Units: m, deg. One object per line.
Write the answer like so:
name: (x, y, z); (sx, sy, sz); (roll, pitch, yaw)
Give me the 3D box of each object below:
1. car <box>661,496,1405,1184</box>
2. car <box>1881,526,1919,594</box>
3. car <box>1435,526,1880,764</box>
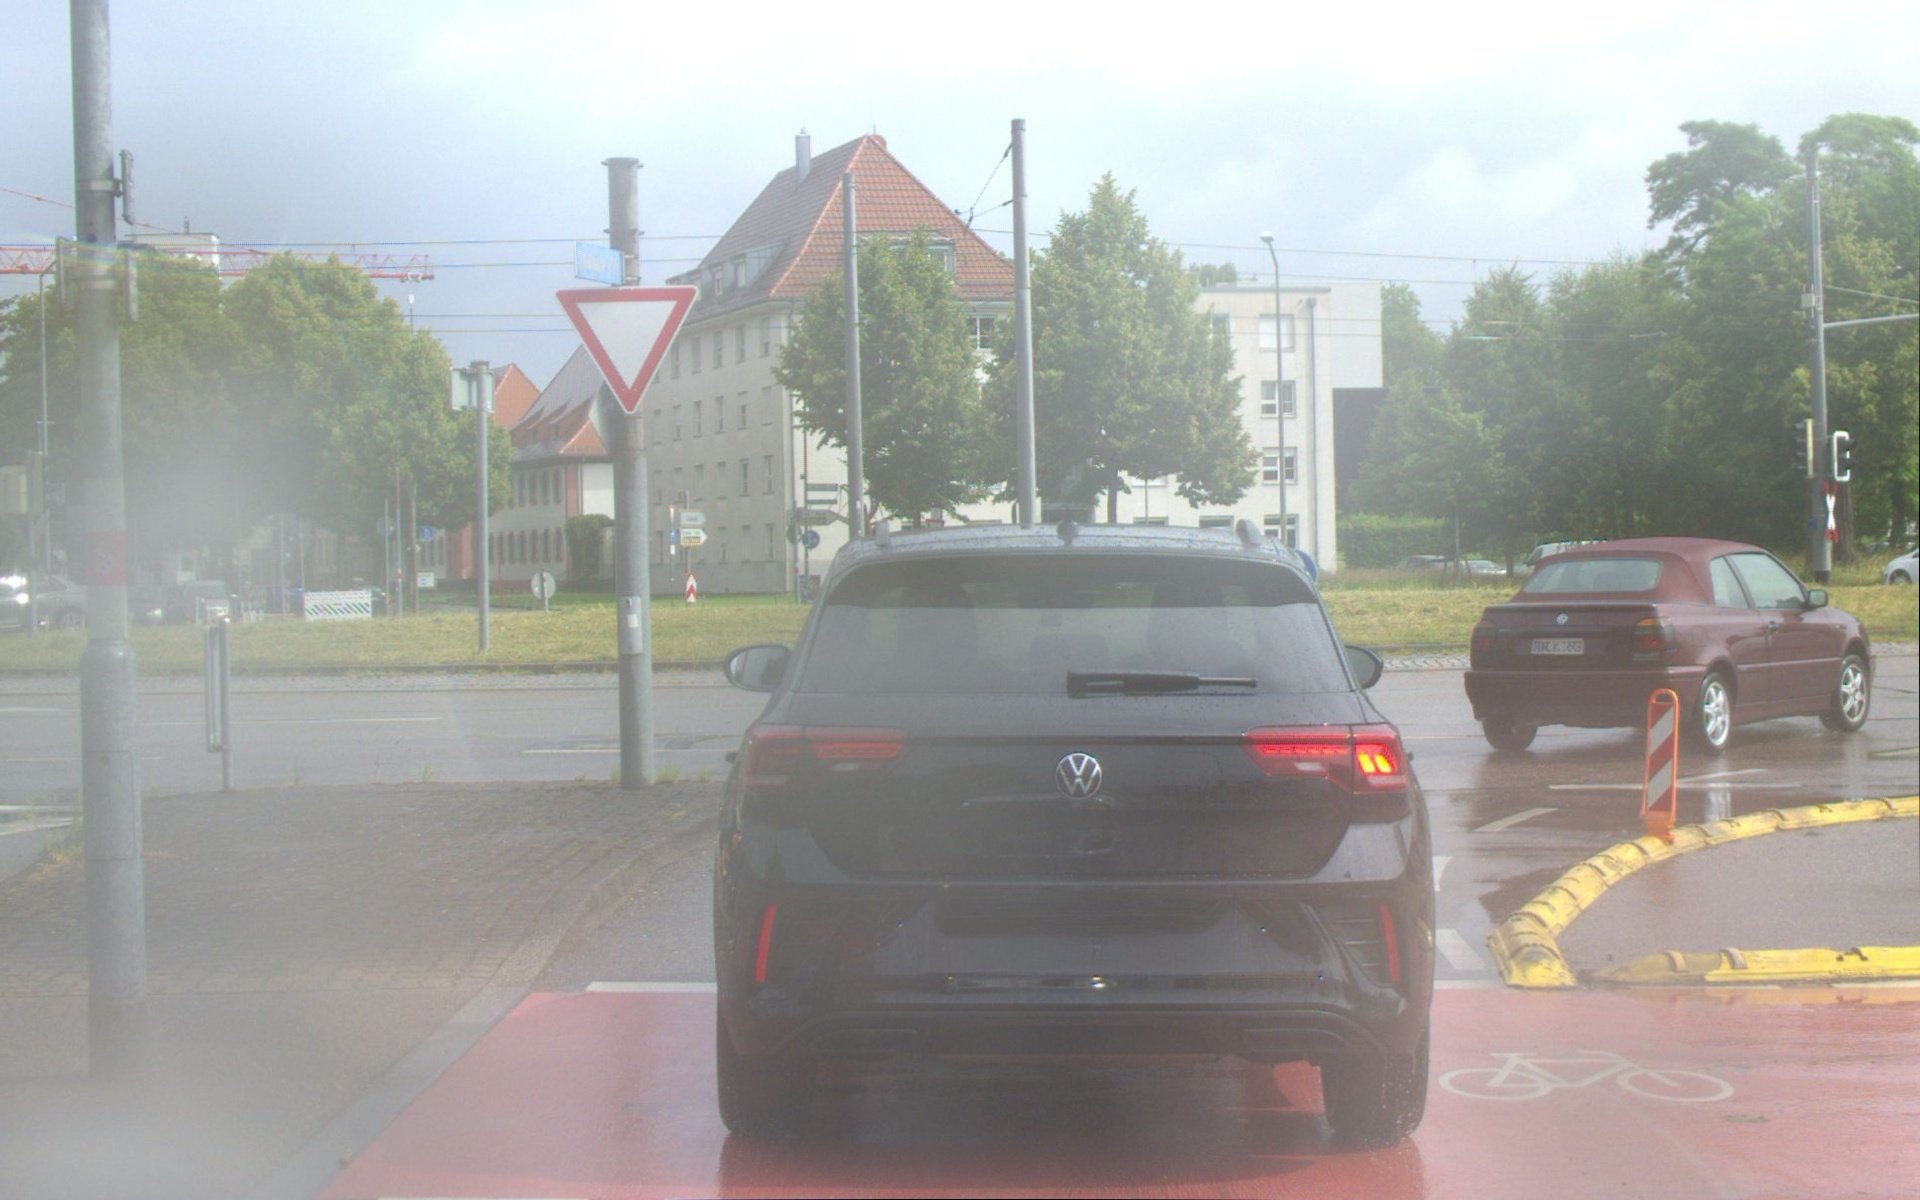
car: (0.079, 0.531, 9.735); (1.708, 1.568, 3.683); (0, 0, -3)
car: (22.685, -0.917, 77.344); (1.728, 1.542, 3.590); (-1, 1, -31)
car: (4.920, 0.259, 23.936); (1.739, 1.509, 3.596); (0, 1, 35)
